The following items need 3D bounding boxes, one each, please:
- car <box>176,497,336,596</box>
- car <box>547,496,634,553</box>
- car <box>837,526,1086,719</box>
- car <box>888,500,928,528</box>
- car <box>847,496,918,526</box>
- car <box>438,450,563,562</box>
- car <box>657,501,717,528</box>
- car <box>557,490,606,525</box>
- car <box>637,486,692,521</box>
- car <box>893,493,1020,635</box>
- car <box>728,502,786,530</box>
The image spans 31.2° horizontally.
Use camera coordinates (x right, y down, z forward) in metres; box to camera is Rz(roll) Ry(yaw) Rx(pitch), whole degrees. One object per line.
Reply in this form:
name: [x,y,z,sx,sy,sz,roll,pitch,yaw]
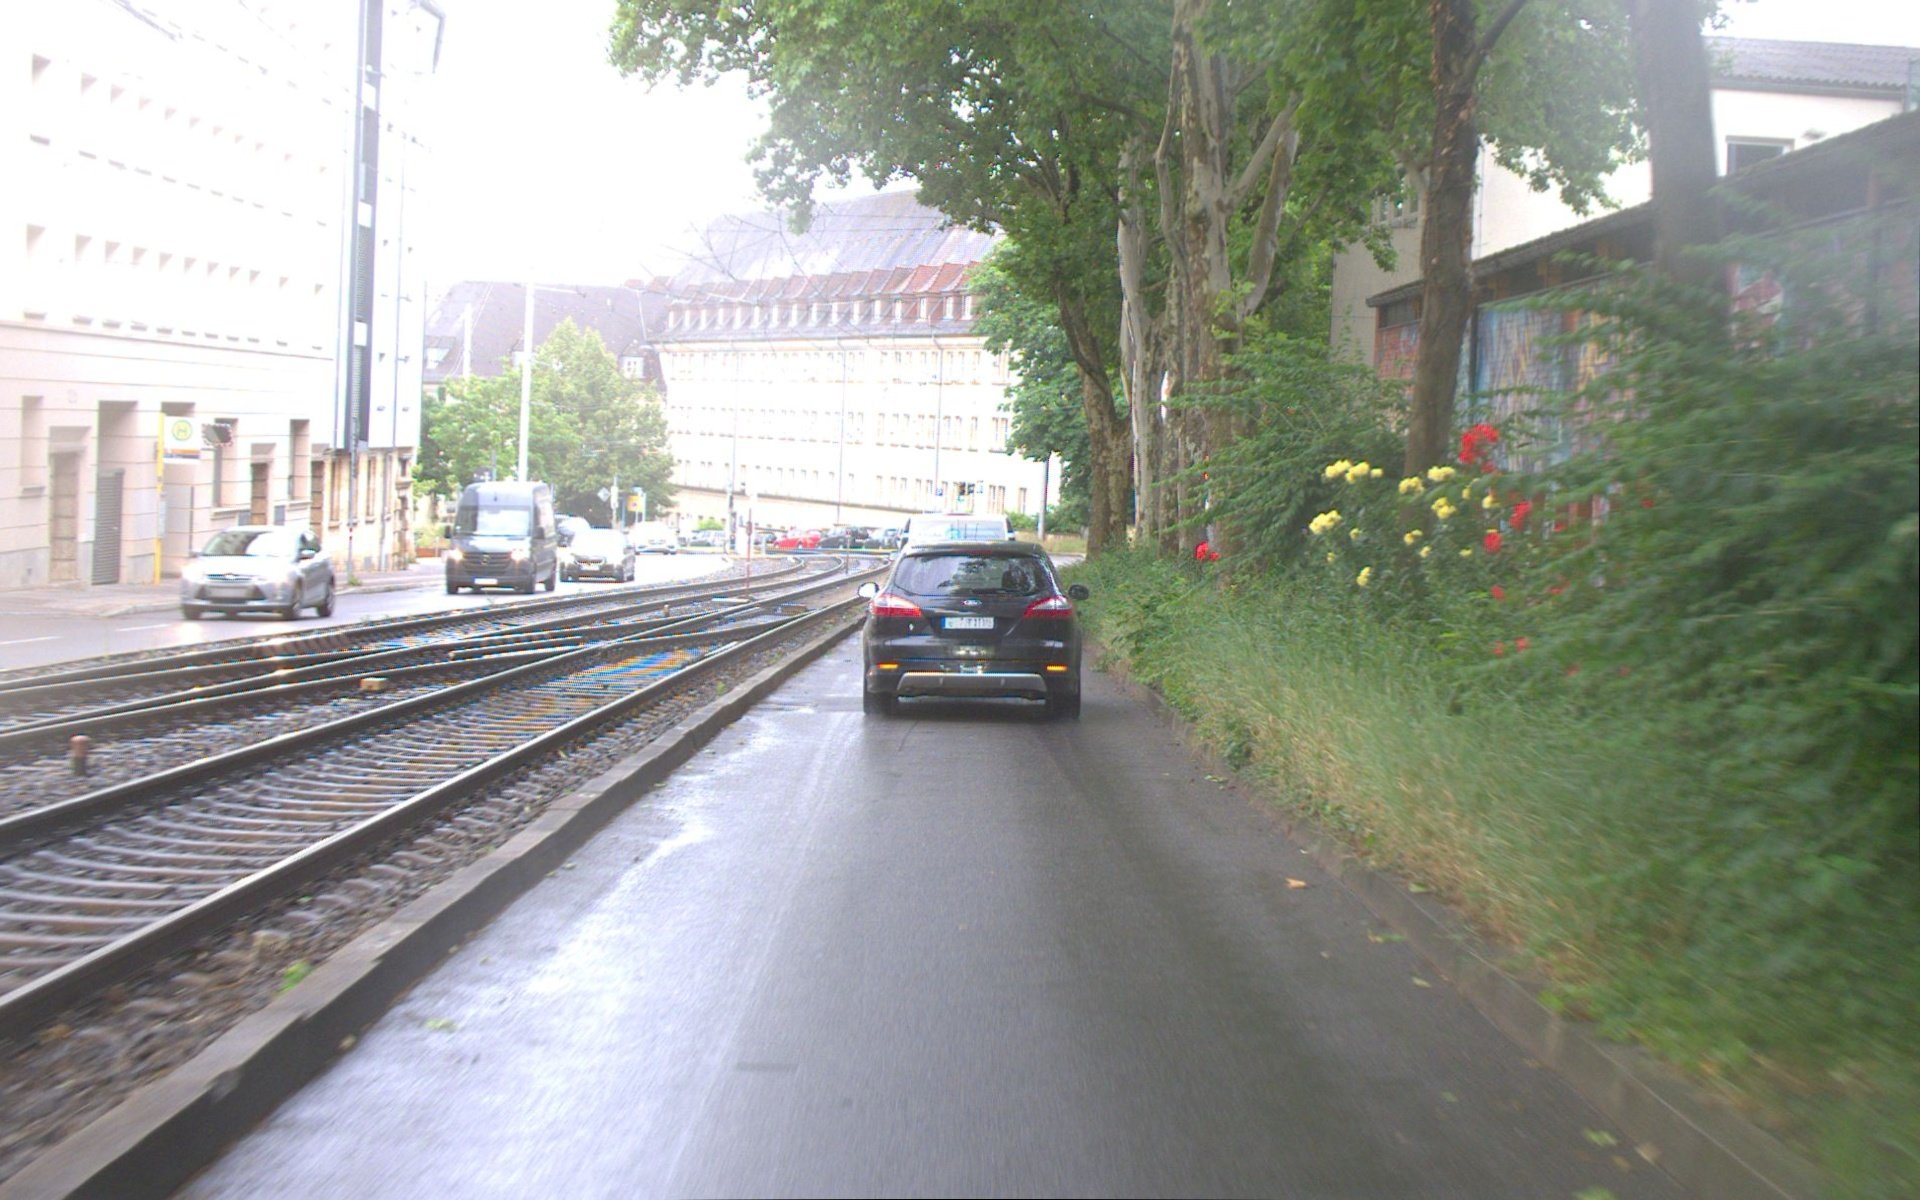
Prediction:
car: [-11.051,-0.869,54.222,1.712,1.457,4.281,1,2,-1]
car: [-10.546,-2.186,98.448,1.880,1.481,4.854,2,2,1]
car: [-0.035,0.135,29.759,1.933,1.448,4.318,3,1,-1]
car: [-2.813,-4.609,184.371,1.657,1.471,3.645,2,1,-8]
car: [-4.246,-4.855,188.084,1.993,1.537,4.000,1,1,-34]
car: [-10.718,-2.157,80.536,1.993,2.443,5.998,2,1,1]
car: [-16.665,-5.212,210.012,1.993,1.537,4.000,1,1,-32]
car: [-17.188,-4.197,155.880,1.993,1.537,4.001,2,1,-9]
car: [-13.021,-4.252,151.677,1.799,1.477,4.840,2,1,2]
car: [-0.089,-0.573,52.041,1.740,2.007,3.904,2,1,-2]
car: [-11.940,-4.949,202.226,1.993,1.537,4.001,0,2,-26]
